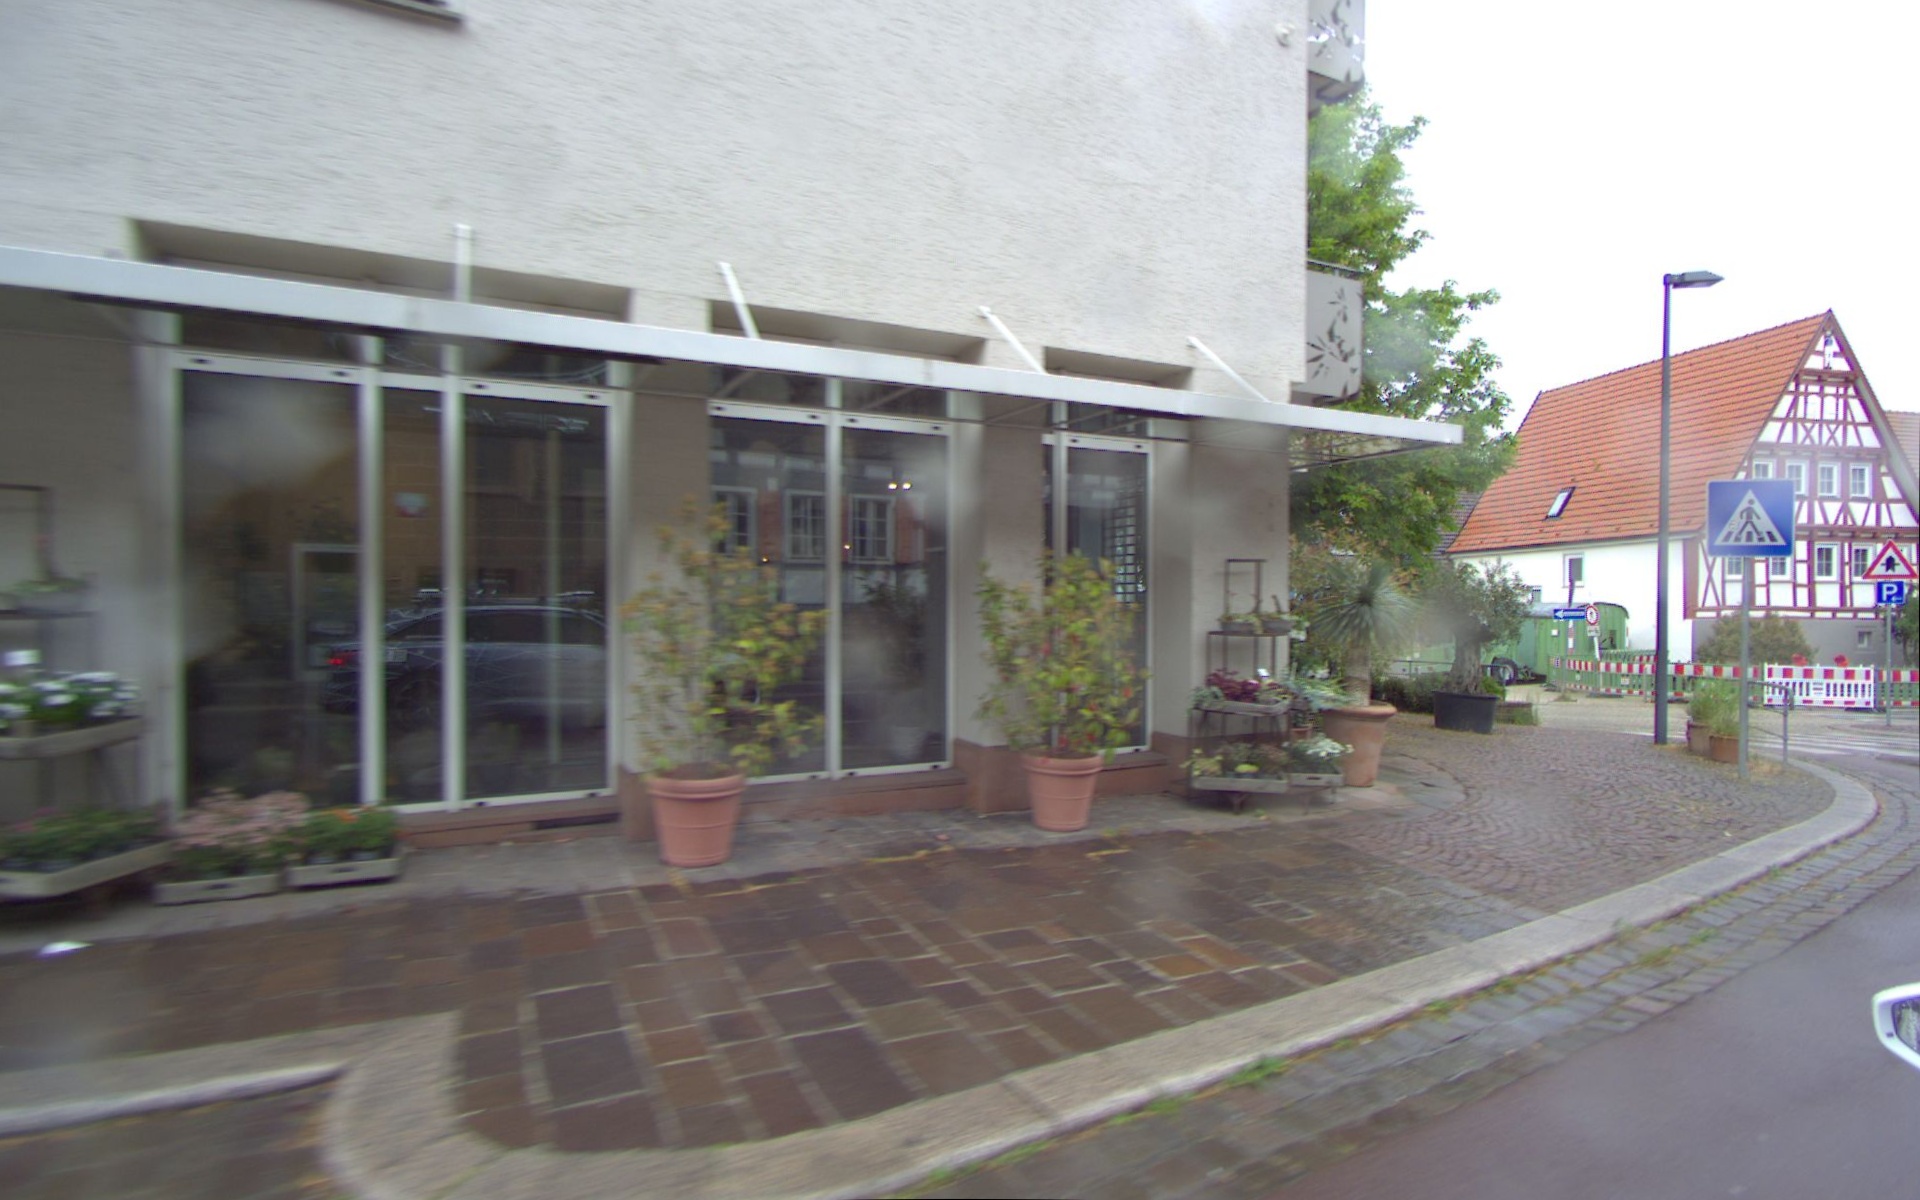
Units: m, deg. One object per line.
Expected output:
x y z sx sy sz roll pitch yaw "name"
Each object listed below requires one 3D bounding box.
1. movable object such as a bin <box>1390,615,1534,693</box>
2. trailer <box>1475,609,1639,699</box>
17.312 1.843 34.702 4.219 2.587 1.907 0 -3 -15 "movable object such as a bin"
20.774 1.801 35.235 2.448 2.874 4.623 2 -1 -11 "trailer"
